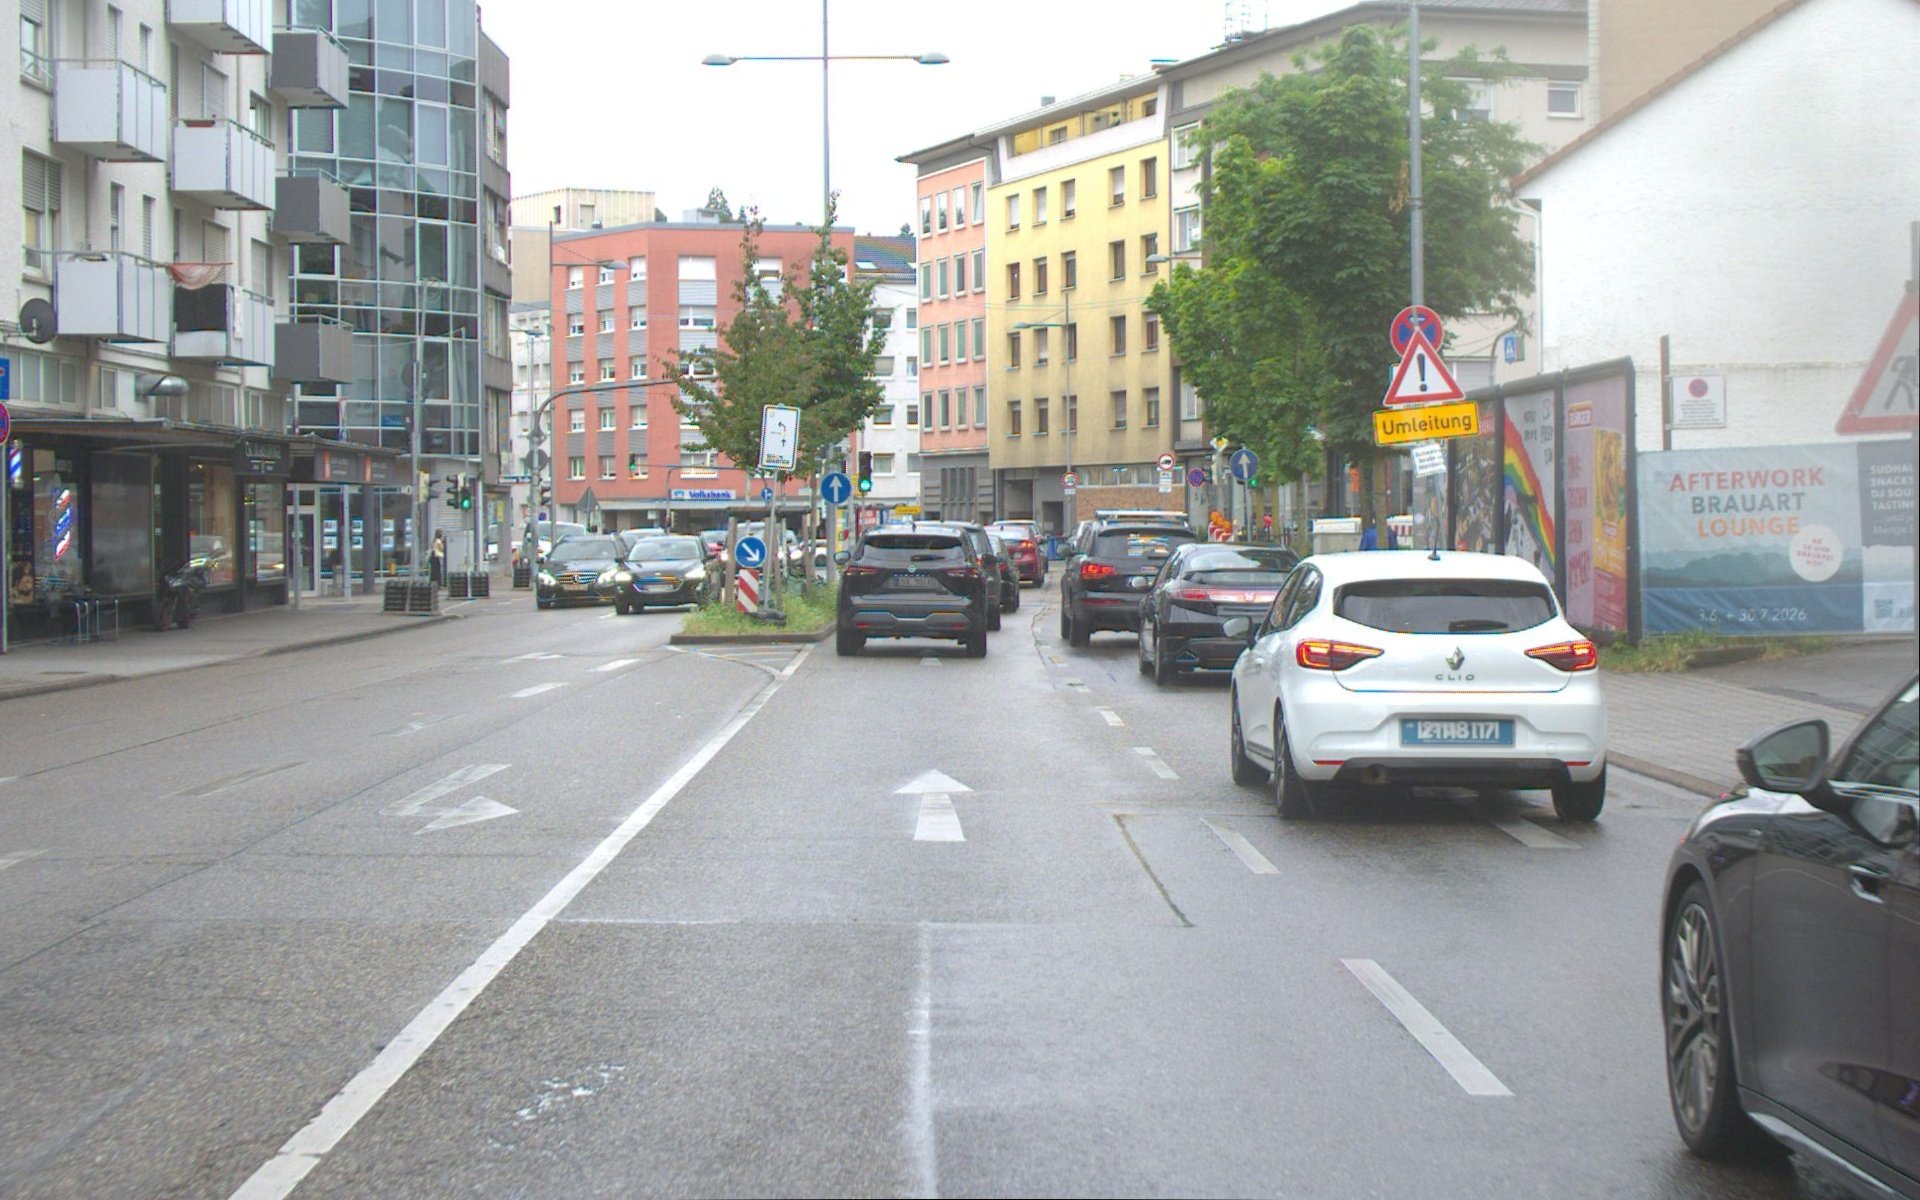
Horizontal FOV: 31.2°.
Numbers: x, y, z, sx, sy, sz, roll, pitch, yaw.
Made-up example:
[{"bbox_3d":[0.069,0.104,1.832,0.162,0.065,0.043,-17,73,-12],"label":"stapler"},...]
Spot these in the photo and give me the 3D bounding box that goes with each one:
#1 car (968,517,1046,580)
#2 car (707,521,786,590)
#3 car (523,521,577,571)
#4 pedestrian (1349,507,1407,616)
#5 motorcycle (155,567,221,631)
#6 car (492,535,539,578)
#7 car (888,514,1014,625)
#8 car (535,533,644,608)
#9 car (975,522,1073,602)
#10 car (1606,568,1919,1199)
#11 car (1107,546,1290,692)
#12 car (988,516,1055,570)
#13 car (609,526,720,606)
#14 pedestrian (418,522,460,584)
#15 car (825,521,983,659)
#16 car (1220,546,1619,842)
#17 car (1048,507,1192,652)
[{"bbox_3d":[1.056,-1.194,79.219,1.641,1.376,3.348,-2,1,-1],"label":"car"},{"bbox_3d":[-5.481,-1.158,88.663,1.683,1.655,4.096,-2,1,0],"label":"car"},{"bbox_3d":[-13.347,-1.764,111.839,1.549,1.565,3.349,1,1,-9],"label":"car"},{"bbox_3d":[6.858,-0.634,56.379,0.792,1.749,0.871,-2,1,13],"label":"pedestrian"},{"bbox_3d":[-12.623,-0.022,56.260,0.525,0.992,2.136,1,1,1],"label":"motorcycle"},{"bbox_3d":[-16.000,-1.567,123.658,1.455,1.425,3.371,1,2,-11],"label":"car"},{"bbox_3d":[-0.110,-0.490,52.714,1.823,1.595,3.719,1,1,1],"label":"car"},{"bbox_3d":[-7.942,-0.661,74.022,1.708,1.463,4.829,-3,1,1],"label":"car"},{"bbox_3d":[1.157,-0.714,63.316,1.641,1.376,3.348,-2,1,-1],"label":"car"},{"bbox_3d":[2.632,0.665,6.669,1.789,1.398,4.634,-1,1,-1],"label":"car"},{"bbox_3d":[2.458,0.156,35.607,1.787,1.395,3.718,1,1,4],"label":"car"},{"bbox_3d":[1.653,-1.553,92.987,1.641,1.376,3.348,-2,1,-1],"label":"car"},{"bbox_3d":[-5.698,-0.678,66.708,1.720,1.418,4.165,-3,1,0],"label":"car"},{"bbox_3d":[-13.546,-1.223,89.363,0.781,1.585,0.763,-2,1,-36],"label":"pedestrian"},{"bbox_3d":[-0.649,-0.159,42.687,1.823,1.595,3.719,1,1,1],"label":"car"},{"bbox_3d":[2.475,0.447,19.354,1.665,1.391,3.867,1,2,-1],"label":"car"},{"bbox_3d":[2.131,-0.317,46.412,1.830,1.799,3.719,1,2,2],"label":"car"}]
